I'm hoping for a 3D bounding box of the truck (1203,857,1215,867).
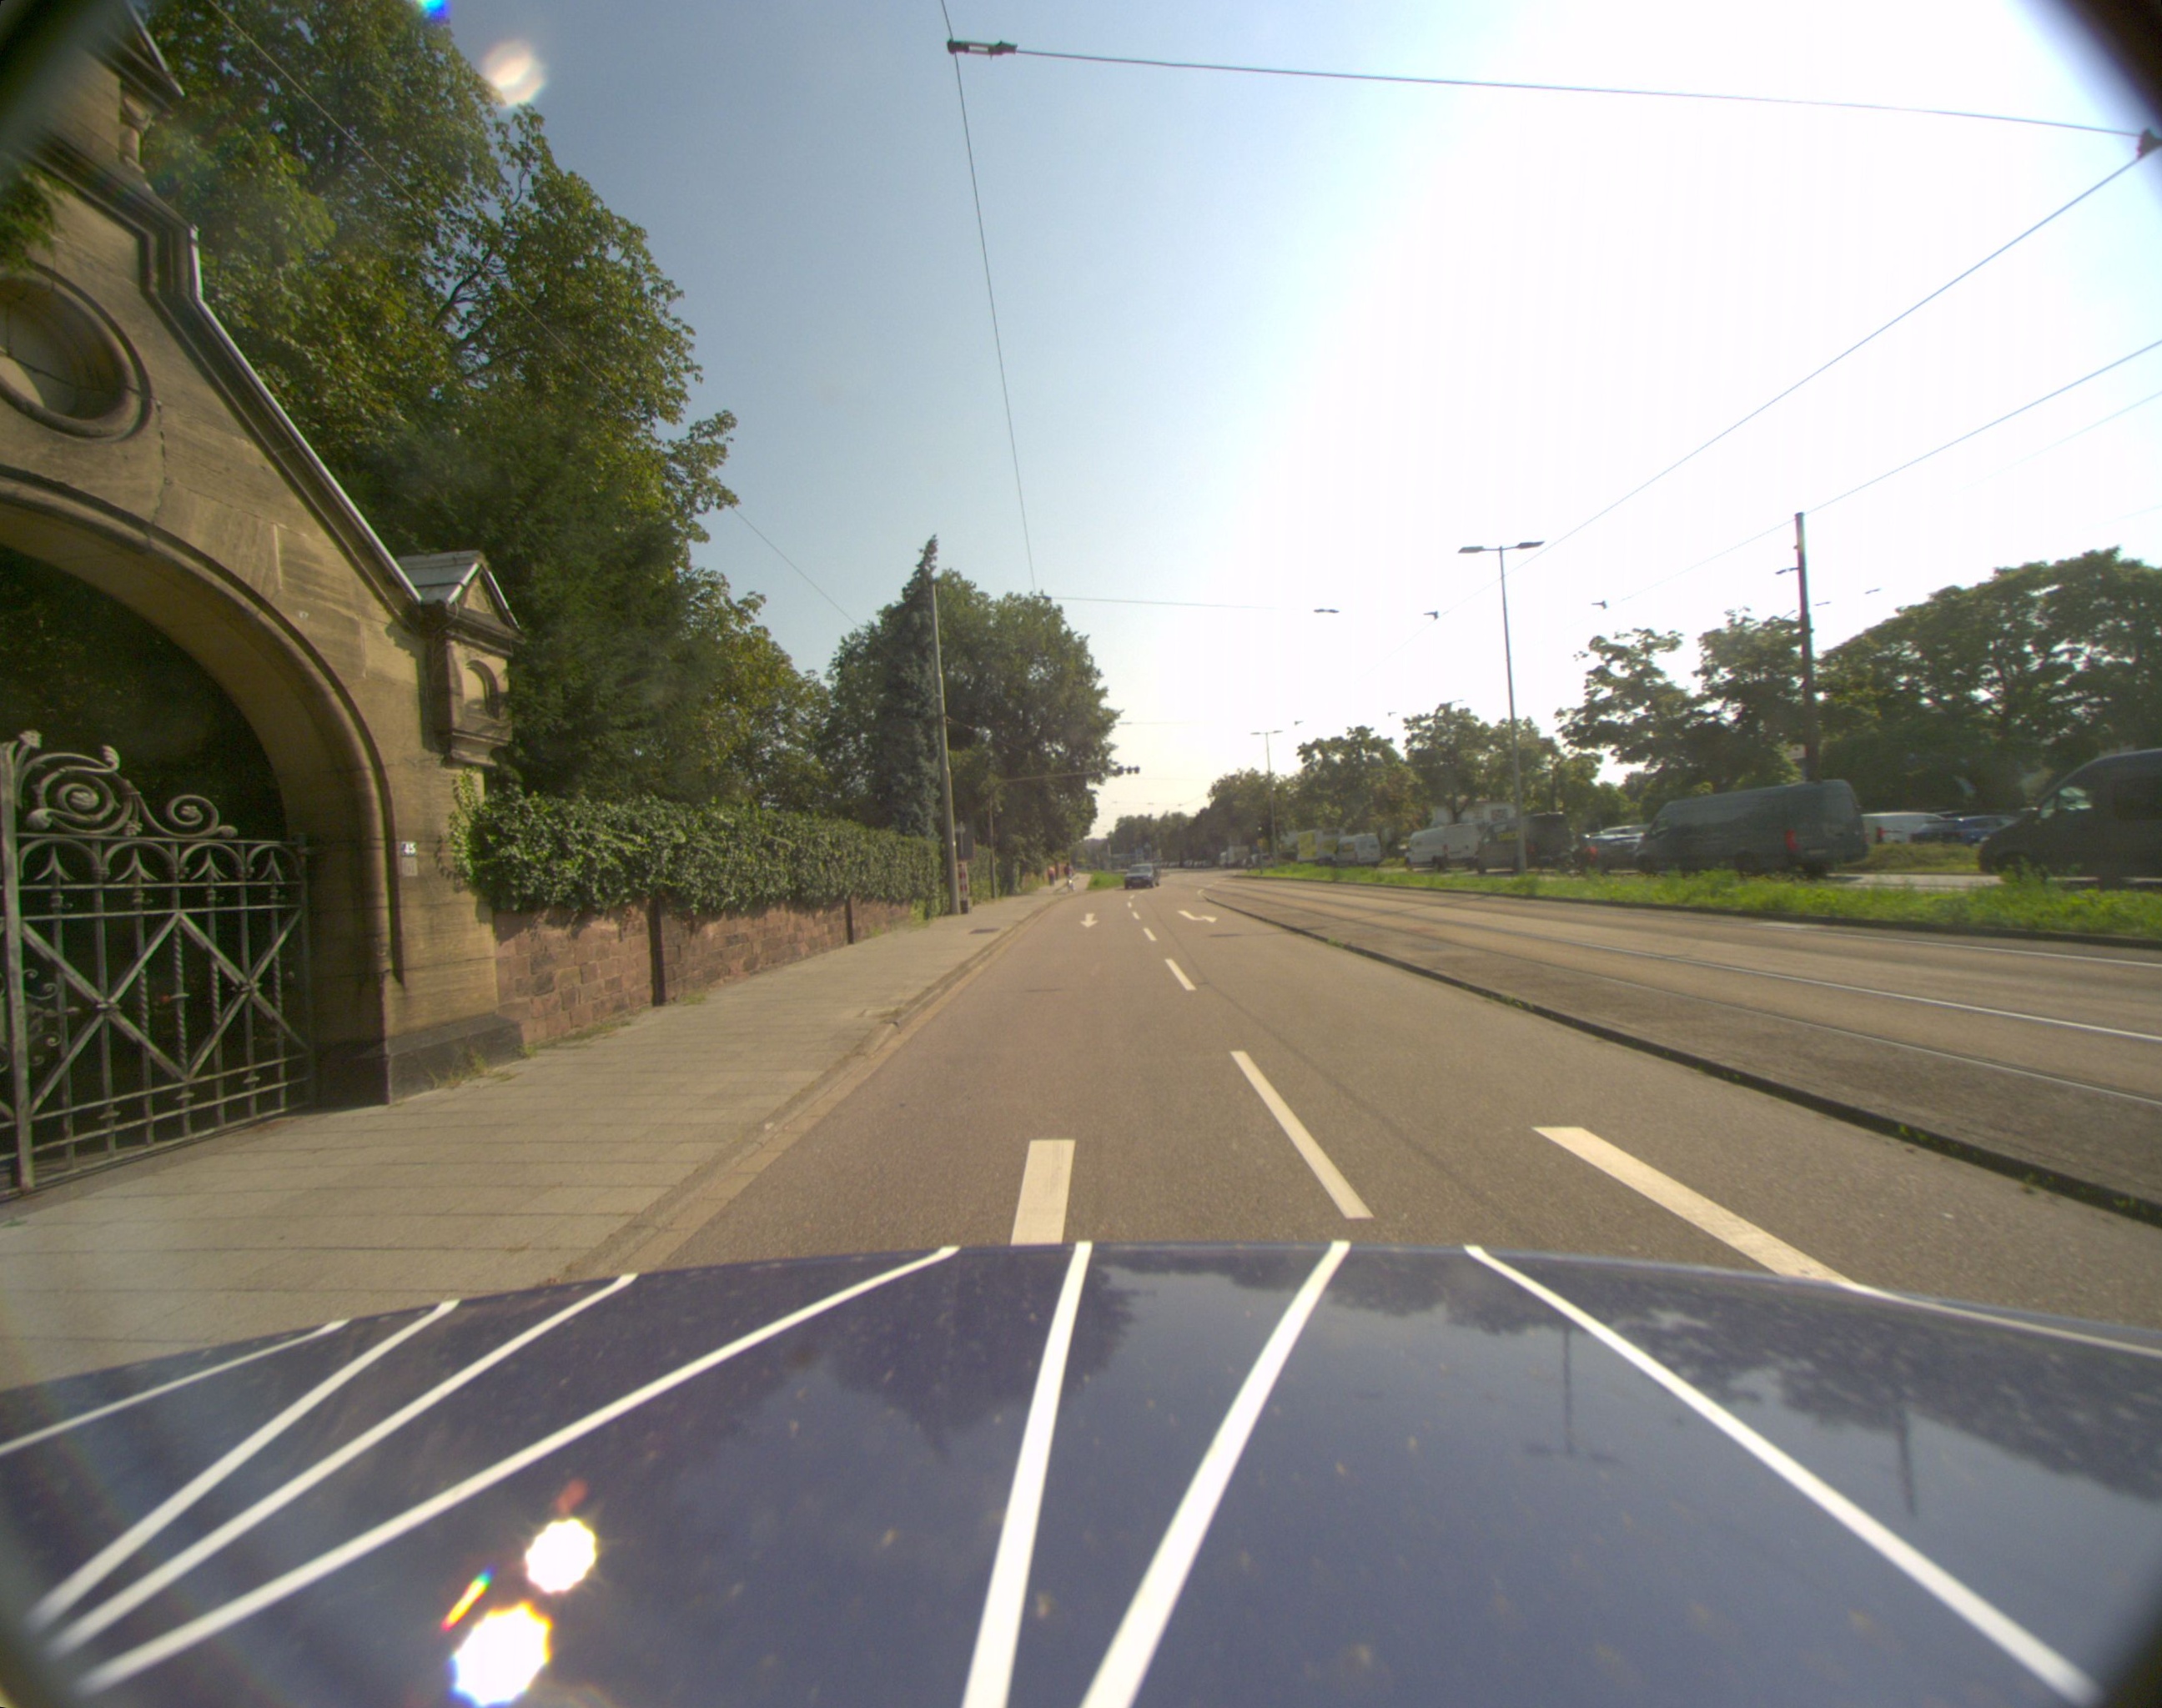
[{"bbox_3d":[23.775,1.455,141.376,1.691,1.664,3.656,-2,-1,2],"label":"truck"}]

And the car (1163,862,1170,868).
[{"bbox_3d":[22.833,2.874,202.308,1.550,1.575,3.456,-2,-1,1],"label":"car"}]

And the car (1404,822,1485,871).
[{"bbox_3d":[20.929,-0.374,44.060,2.137,2.571,5.632,-2,-1,2],"label":"car"}]

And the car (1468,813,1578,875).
[{"bbox_3d":[20.657,-0.379,35.894,1.826,2.570,5.912,-5,-1,3],"label":"car"}]

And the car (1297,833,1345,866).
[{"bbox_3d":[21.327,-0.339,67.948,2.129,2.788,7.233,-2,-1,2],"label":"car"}]

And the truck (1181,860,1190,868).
[{"bbox_3d":[24.608,2.351,178.594,1.691,1.664,3.656,-2,-1,2],"label":"truck"}]

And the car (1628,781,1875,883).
[{"bbox_3d":[20.234,-0.544,23.528,1.993,2.570,6.468,-5,-1,3],"label":"car"}]

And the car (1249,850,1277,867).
[{"bbox_3d":[17.468,0.448,73.151,1.929,1.510,3.950,-2,-1,4],"label":"car"}]

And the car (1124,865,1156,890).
[{"bbox_3d":[3.573,1.384,46.482,1.776,1.415,3.936,-2,-1,3],"label":"car"}]

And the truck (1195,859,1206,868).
[{"bbox_3d":[23.741,1.916,150.932,1.691,1.664,3.656,-2,-1,2],"label":"truck"}]

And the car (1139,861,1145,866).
[{"bbox_3d":[18.675,2.907,233.132,1.550,1.575,3.456,-2,-1,1],"label":"car"}]

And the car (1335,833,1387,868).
[{"bbox_3d":[21.365,-0.234,58.251,2.148,2.443,4.833,-2,-1,0],"label":"car"}]

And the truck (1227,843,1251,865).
[{"bbox_3d":[23.100,0.052,111.217,2.278,3.103,8.790,-2,-1,4],"label":"truck"}]

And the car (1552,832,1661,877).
[{"bbox_3d":[20.518,0.027,29.886,1.748,1.542,3.835,-4,-1,4],"label":"car"}]

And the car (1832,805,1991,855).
[{"bbox_3d":[31.243,-0.869,28.676,3.996,1.684,1.746,-2,0,2],"label":"car"}]

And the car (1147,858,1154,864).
[{"bbox_3d":[20.264,2.093,221.611,1.550,1.575,3.456,-2,-1,1],"label":"car"}]

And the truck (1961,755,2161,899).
[{"bbox_3d":[20.047,-0.508,13.536,2.086,2.532,5.740,-2,-1,1],"label":"truck"}]

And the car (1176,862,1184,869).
[{"bbox_3d":[24.059,2.766,184.887,1.550,1.758,3.646,-2,-1,1],"label":"car"}]

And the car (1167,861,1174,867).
[{"bbox_3d":[23.099,2.513,196.225,1.550,1.575,3.456,-2,-1,1],"label":"car"}]

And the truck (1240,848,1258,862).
[{"bbox_3d":[22.602,0.190,102.197,1.691,1.762,3.970,-2,-1,2],"label":"truck"}]
